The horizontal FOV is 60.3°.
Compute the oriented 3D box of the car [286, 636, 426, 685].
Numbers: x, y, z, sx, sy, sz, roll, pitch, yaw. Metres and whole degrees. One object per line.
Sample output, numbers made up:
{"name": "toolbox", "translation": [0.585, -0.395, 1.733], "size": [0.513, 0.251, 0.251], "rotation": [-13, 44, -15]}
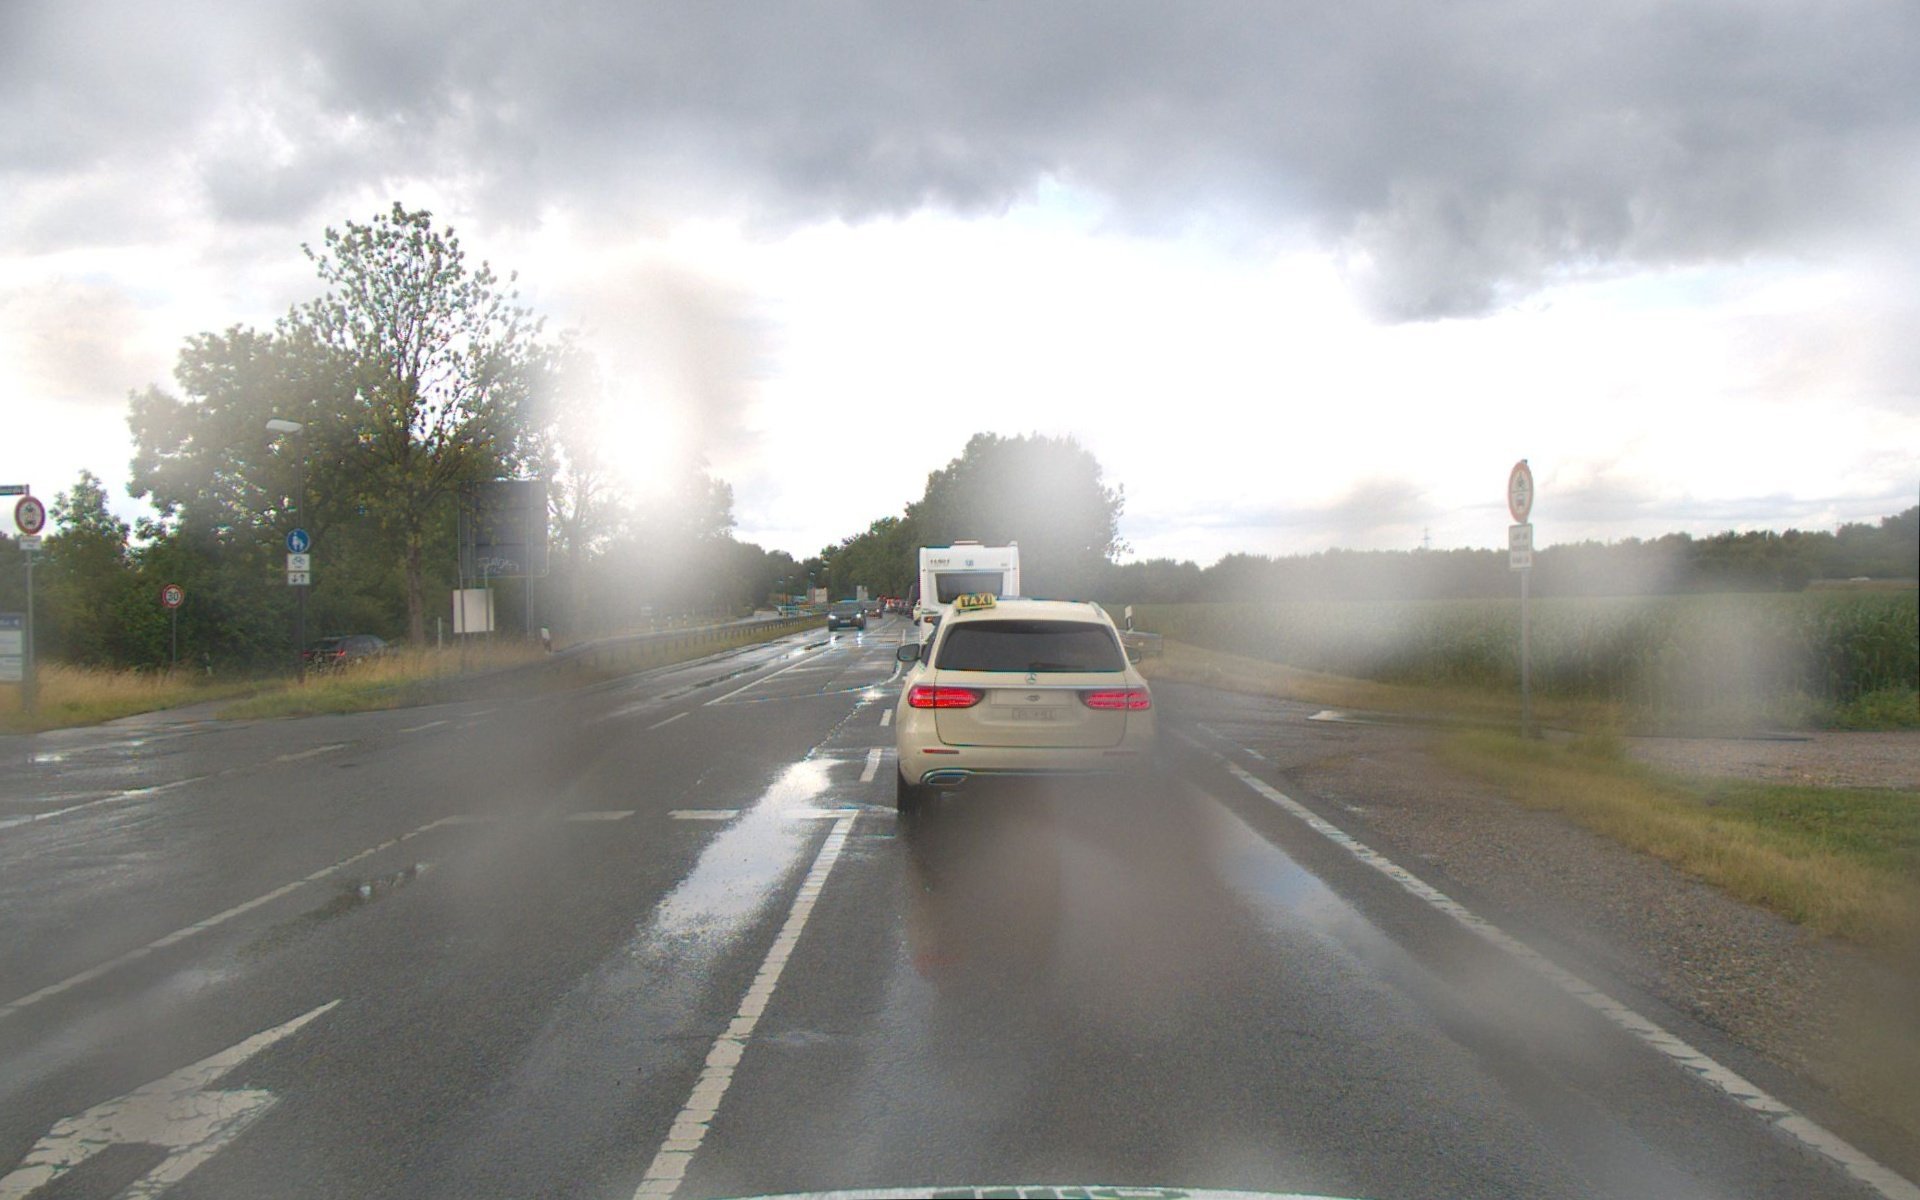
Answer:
{"name": "car", "translation": [-21.445, 2.127, 58.924], "size": [2.254, 1.574, 4.634], "rotation": [1, 0, 19]}

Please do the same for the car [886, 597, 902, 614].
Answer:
{"name": "car", "translation": [-7.584, 0.657, 191.094], "size": [1.705, 1.892, 3.784], "rotation": [-1, 0, -1]}

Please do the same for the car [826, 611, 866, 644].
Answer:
{"name": "car", "translation": [-5.864, 1.410, 85.668], "size": [1.791, 1.601, 3.999], "rotation": [1, 0, 0]}

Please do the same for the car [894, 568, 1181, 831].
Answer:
{"name": "car", "translation": [0.465, 0.633, 12.433], "size": [1.805, 1.646, 3.999], "rotation": [0, 0, -1]}

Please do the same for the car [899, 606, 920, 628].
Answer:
{"name": "car", "translation": [-4.276, 1.458, 140.849], "size": [1.755, 1.808, 3.720], "rotation": [-1, 0, -1]}

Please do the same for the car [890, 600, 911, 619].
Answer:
{"name": "car", "translation": [-5.720, 0.941, 159.400], "size": [1.841, 1.792, 3.833], "rotation": [-1, 0, -1]}

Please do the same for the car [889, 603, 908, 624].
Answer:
{"name": "car", "translation": [-6.259, 1.326, 167.879], "size": [1.814, 2.049, 3.810], "rotation": [-1, 0, -1]}

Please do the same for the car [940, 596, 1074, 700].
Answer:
{"name": "car", "translation": [0.684, 0.724, 26.727], "size": [1.953, 1.488, 3.999], "rotation": [2, 0, -1]}

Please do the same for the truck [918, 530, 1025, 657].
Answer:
{"name": "truck", "translation": [0.213, -0.146, 40.253], "size": [2.315, 2.776, 7.313], "rotation": [-1, 0, -1]}

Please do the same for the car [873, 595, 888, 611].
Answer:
{"name": "car", "translation": [-10.071, 0.343, 208.919], "size": [1.858, 1.928, 3.840], "rotation": [-1, 0, -4]}

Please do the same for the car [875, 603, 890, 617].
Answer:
{"name": "car", "translation": [-9.393, 1.174, 200.264], "size": [1.714, 1.691, 3.669], "rotation": [0, 0, -5]}

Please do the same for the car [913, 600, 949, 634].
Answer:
{"name": "car", "translation": [-1.642, 0.973, 95.437], "size": [1.876, 1.873, 3.796], "rotation": [-1, 0, 1]}

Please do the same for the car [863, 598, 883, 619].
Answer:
{"name": "car", "translation": [-7.328, 0.709, 139.729], "size": [1.548, 1.668, 3.441], "rotation": [-1, 0, -1]}
